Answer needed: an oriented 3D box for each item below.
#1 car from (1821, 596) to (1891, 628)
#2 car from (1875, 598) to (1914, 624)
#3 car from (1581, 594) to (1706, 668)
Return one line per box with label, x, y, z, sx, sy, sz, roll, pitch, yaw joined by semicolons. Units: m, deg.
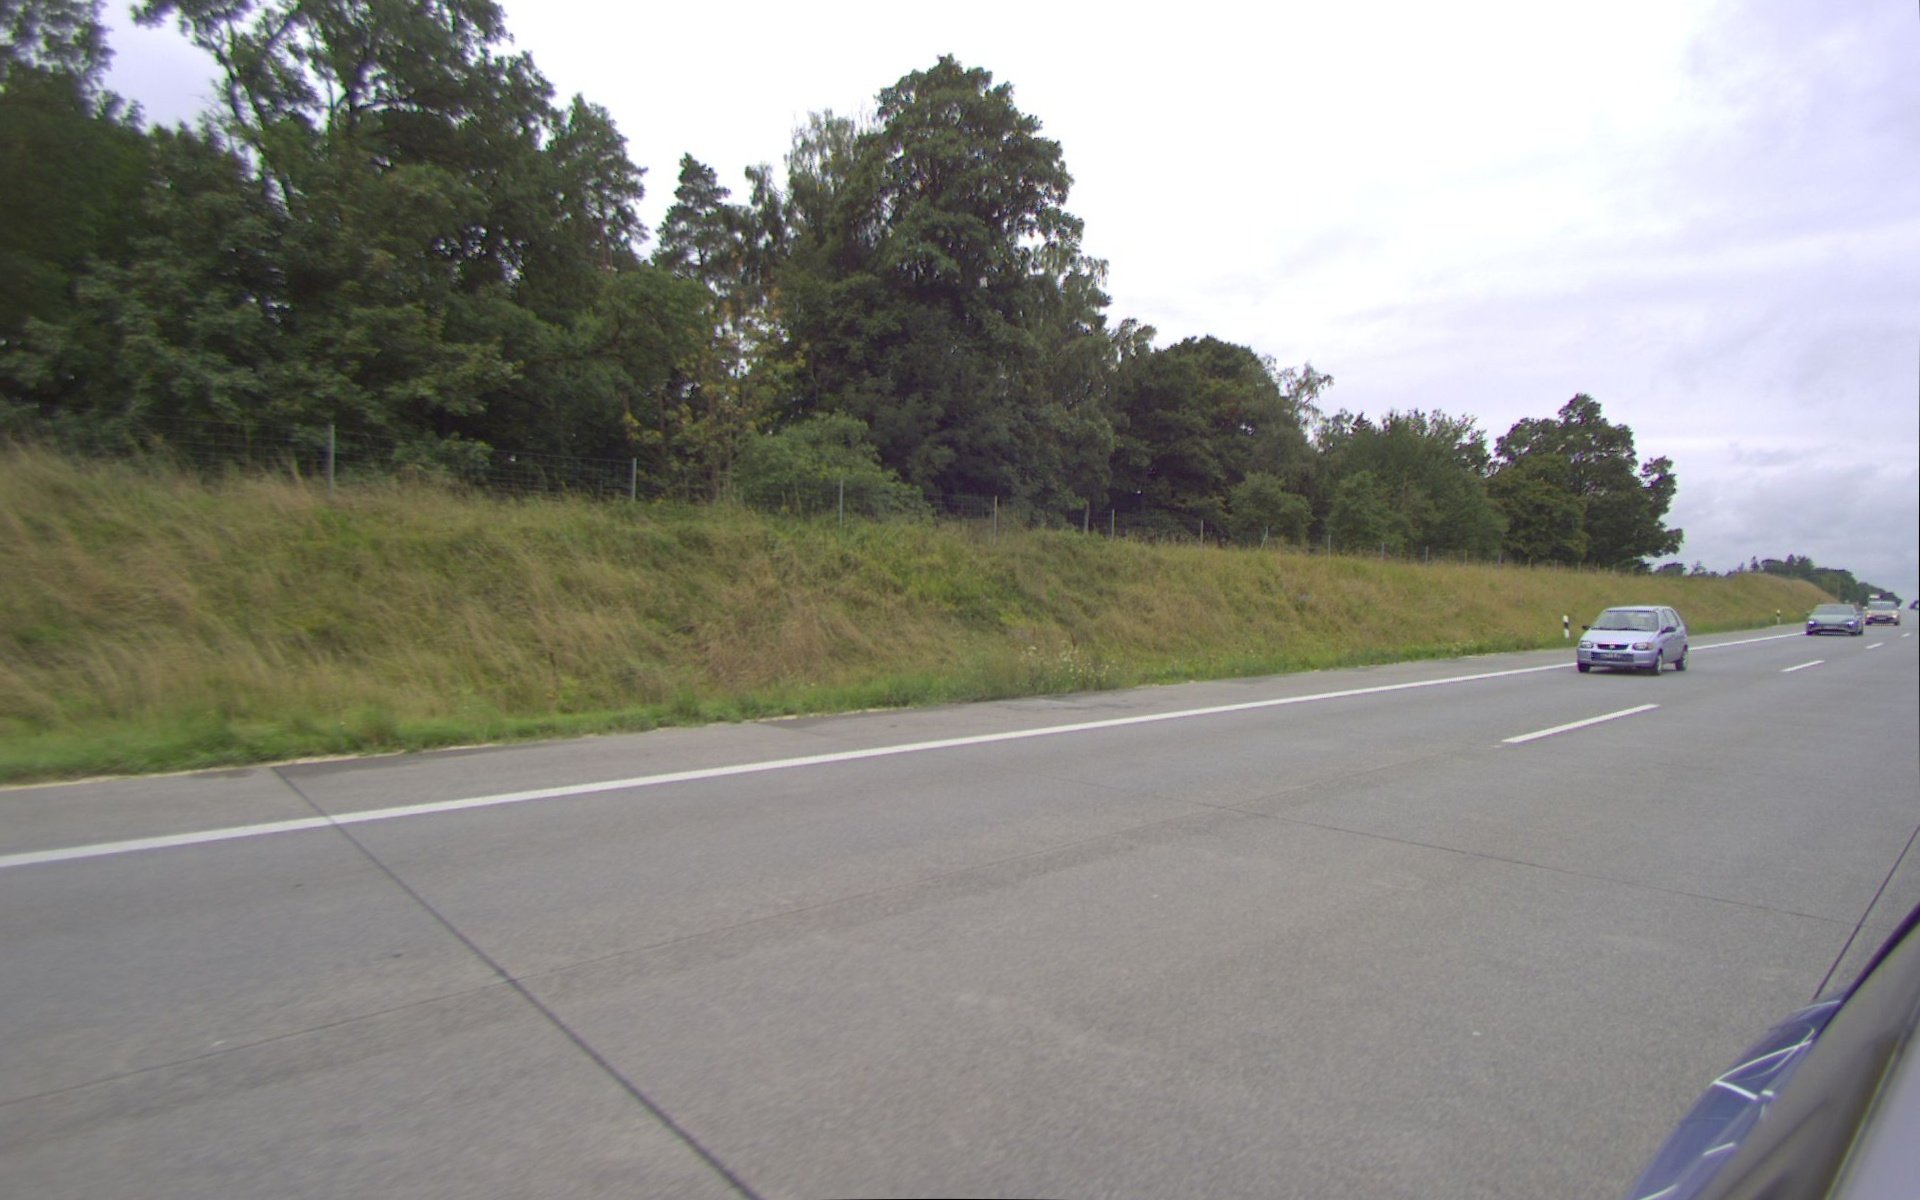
car;42.652;0.588;48.137;4.663;1.464;2.017;1;-1;-42
car;65.091;0.798;70.537;1.785;1.624;4.501;4;2;42
car;15.016;0.648;22.175;3.444;1.489;1.488;1;0;-42
